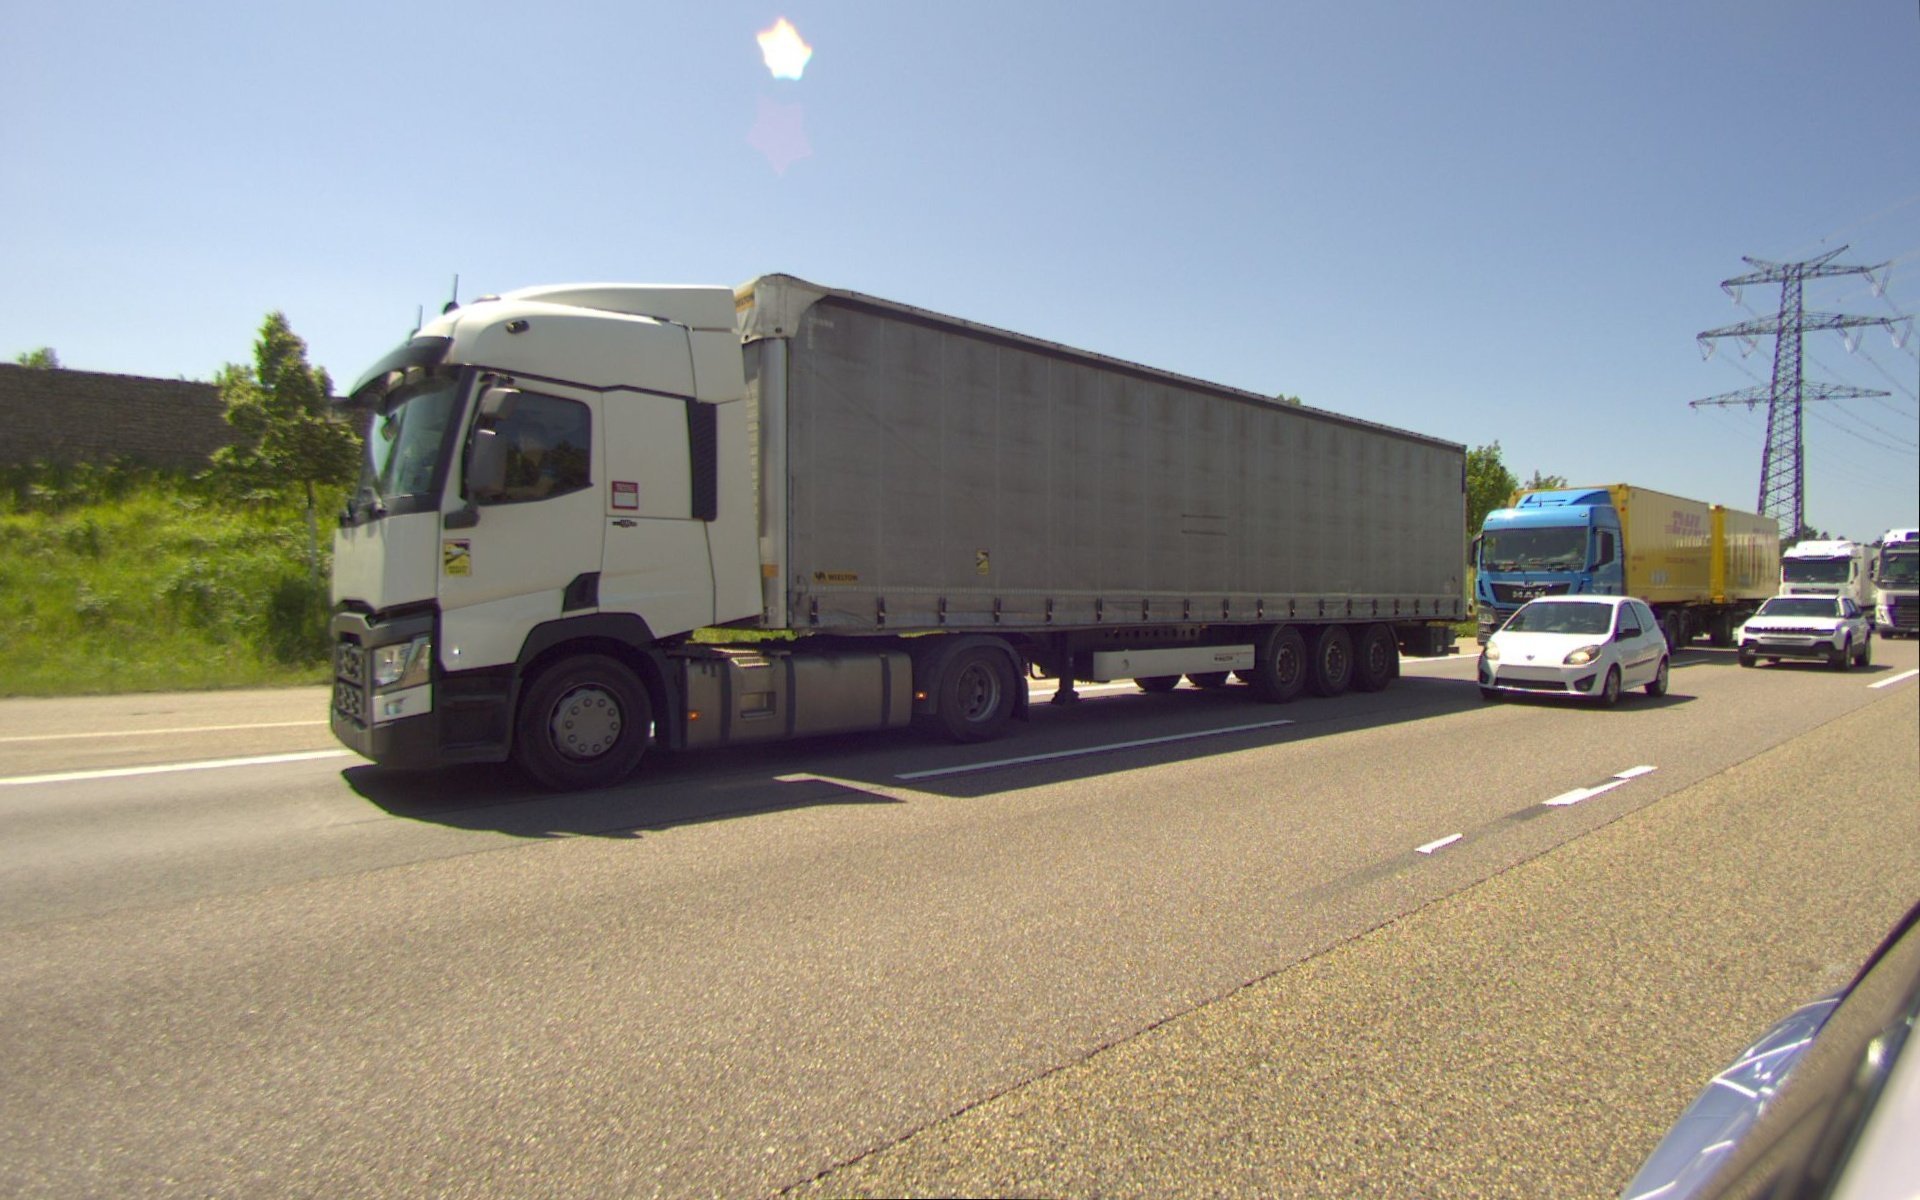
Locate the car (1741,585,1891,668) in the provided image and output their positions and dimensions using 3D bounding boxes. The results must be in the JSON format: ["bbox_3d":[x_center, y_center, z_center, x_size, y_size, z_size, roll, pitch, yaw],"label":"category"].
[{"bbox_3d":[18.081,0.488,21.332,3.783,1.549,1.775,-1,1,-39],"label":"car"}]

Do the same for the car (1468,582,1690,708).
[{"bbox_3d":[8.949,0.530,14.526,3.759,1.529,1.658,-1,2,-41],"label":"car"}]

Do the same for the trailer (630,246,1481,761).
[{"bbox_3d":[2.688,-0.780,13.637,13.511,4.101,2.967,0,0,-41],"label":"trailer"}]

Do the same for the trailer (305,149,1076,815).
[{"bbox_3d":[-2.143,-0.738,9.403,6.298,4.095,2.930,0,0,-41],"label":"trailer"}]

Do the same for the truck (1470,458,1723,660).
[{"bbox_3d":[16.098,-0.833,25.164,9.781,4.161,2.769,0,0,-42],"label":"truck"}]

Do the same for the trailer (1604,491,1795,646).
[{"bbox_3d":[23.039,-0.846,31.300,9.212,4.170,2.770,0,0,-41],"label":"trailer"}]

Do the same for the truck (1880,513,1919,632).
[{"bbox_3d":[38.749,-0.973,39.142,14.000,4.090,2.717,0,0,-40],"label":"truck"}]

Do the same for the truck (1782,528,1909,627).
[{"bbox_3d":[39.997,-0.956,45.524,11.098,3.980,2.693,0,0,-40],"label":"truck"}]
